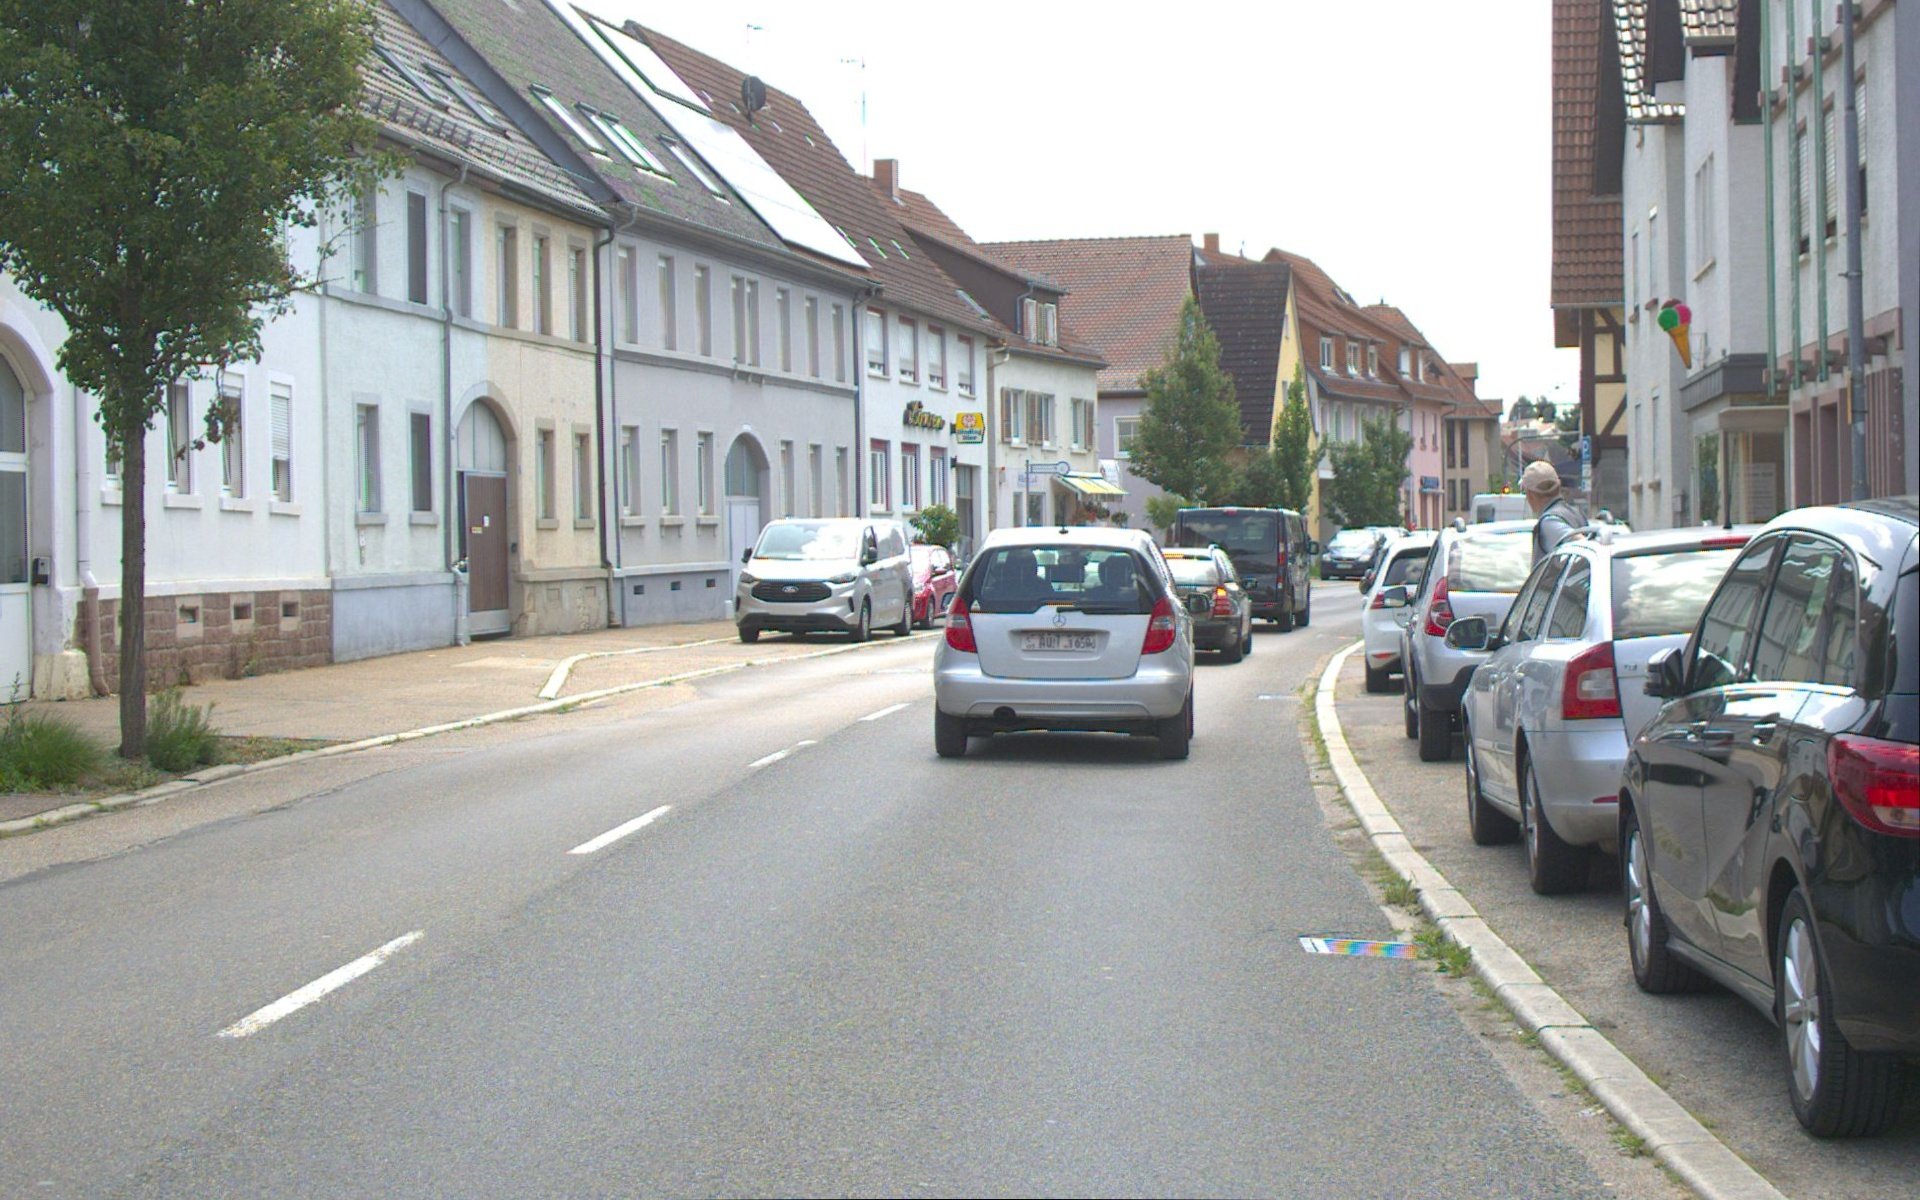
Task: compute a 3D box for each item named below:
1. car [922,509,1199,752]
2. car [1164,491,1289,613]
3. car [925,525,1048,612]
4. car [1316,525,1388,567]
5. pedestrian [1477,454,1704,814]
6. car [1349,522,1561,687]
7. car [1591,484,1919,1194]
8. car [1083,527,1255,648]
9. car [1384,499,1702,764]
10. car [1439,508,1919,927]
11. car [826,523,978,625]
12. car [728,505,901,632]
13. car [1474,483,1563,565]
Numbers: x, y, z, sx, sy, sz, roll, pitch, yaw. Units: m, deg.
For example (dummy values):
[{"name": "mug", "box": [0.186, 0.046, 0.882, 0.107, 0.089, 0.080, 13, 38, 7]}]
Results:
[{"name": "car", "box": [0.810, 0.182, 24.982, 1.769, 1.589, 3.999, 1, 1, 5]}, {"name": "car", "box": [4.380, -0.770, 56.035, 1.769, 1.881, 4.446, 1, 1, 7]}, {"name": "car", "box": [0.574, -0.649, 69.903, 1.792, 1.643, 3.998, -2, 0, 10]}, {"name": "car", "box": [12.483, -1.721, 109.342, 1.706, 1.264, 3.997, -2, 0, 14]}, {"name": "pedestrian", "box": [3.343, 0.161, 18.204, 1.095, 1.815, 1.469, -1, 1, 11]}, {"name": "car", "box": [4.767, 0.024, 33.504, 1.861, 1.458, 3.449, -2, 0, 6]}, {"name": "car", "box": [2.979, 0.447, 9.531, 1.994, 1.554, 4.000, -3, 1, 5]}, {"name": "car", "box": [2.658, -0.164, 42.943, 1.945, 1.402, 3.999, 1, 1, 6]}, {"name": "car", "box": [3.961, 0.181, 23.965, 1.861, 1.620, 4.196, -2, 0, 6]}, {"name": "car", "box": [3.241, 0.417, 15.020, 1.861, 1.526, 4.196, -2, 0, 3]}, {"name": "car", "box": [-0.996, -0.470, 61.342, 1.994, 1.700, 3.999, -2, 0, 9]}, {"name": "car", "box": [-2.238, -0.517, 54.016, 2.092, 1.877, 3.999, -1, 1, 6]}, {"name": "car", "box": [15.977, -2.163, 98.270, 2.237, 2.214, 3.998, -2, 0, 12]}]
